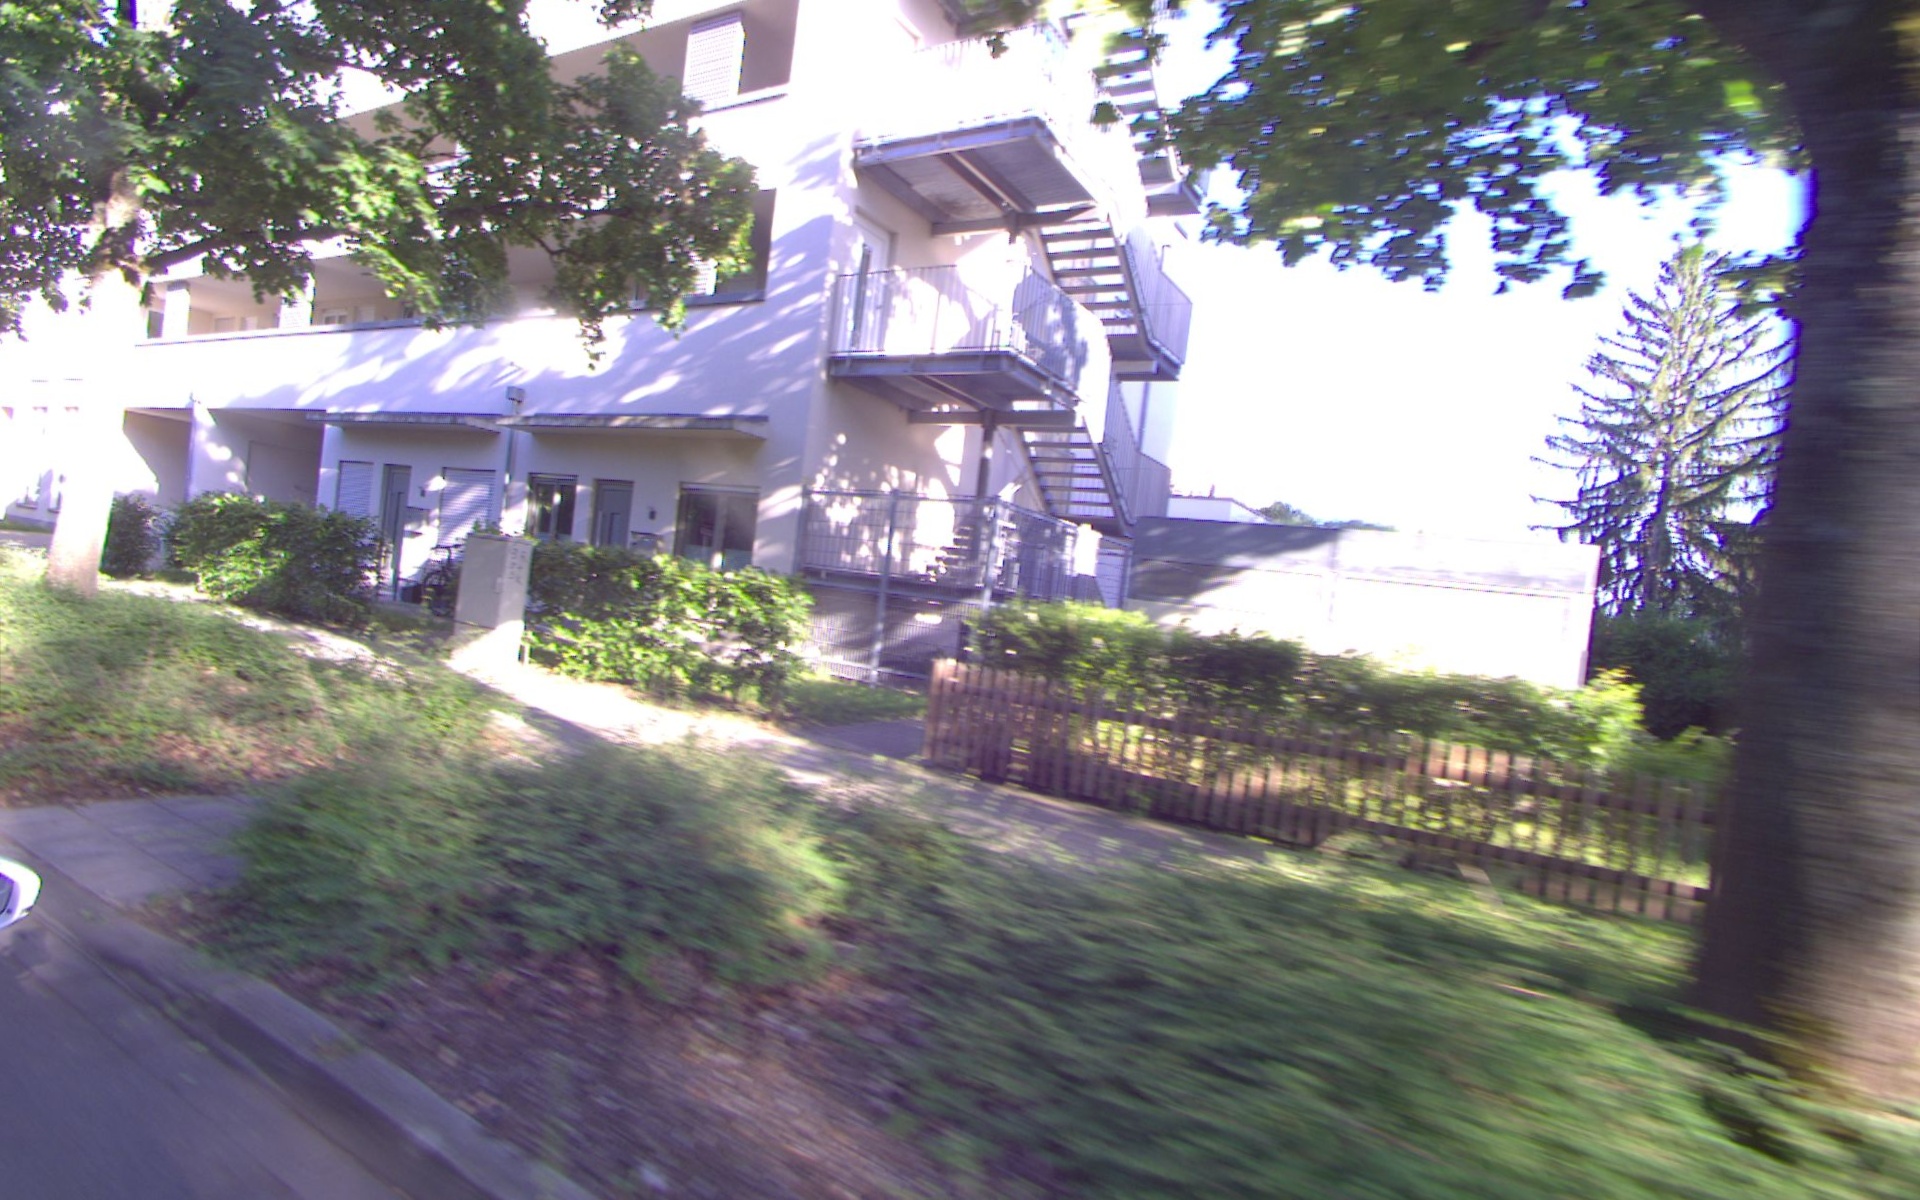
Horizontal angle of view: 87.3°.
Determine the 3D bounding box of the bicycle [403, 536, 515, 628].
[{"bbox_3d":[-7.792,-0.286,15.614,1.724,1.205,0.618,7,0,32],"label":"bicycle"}]
